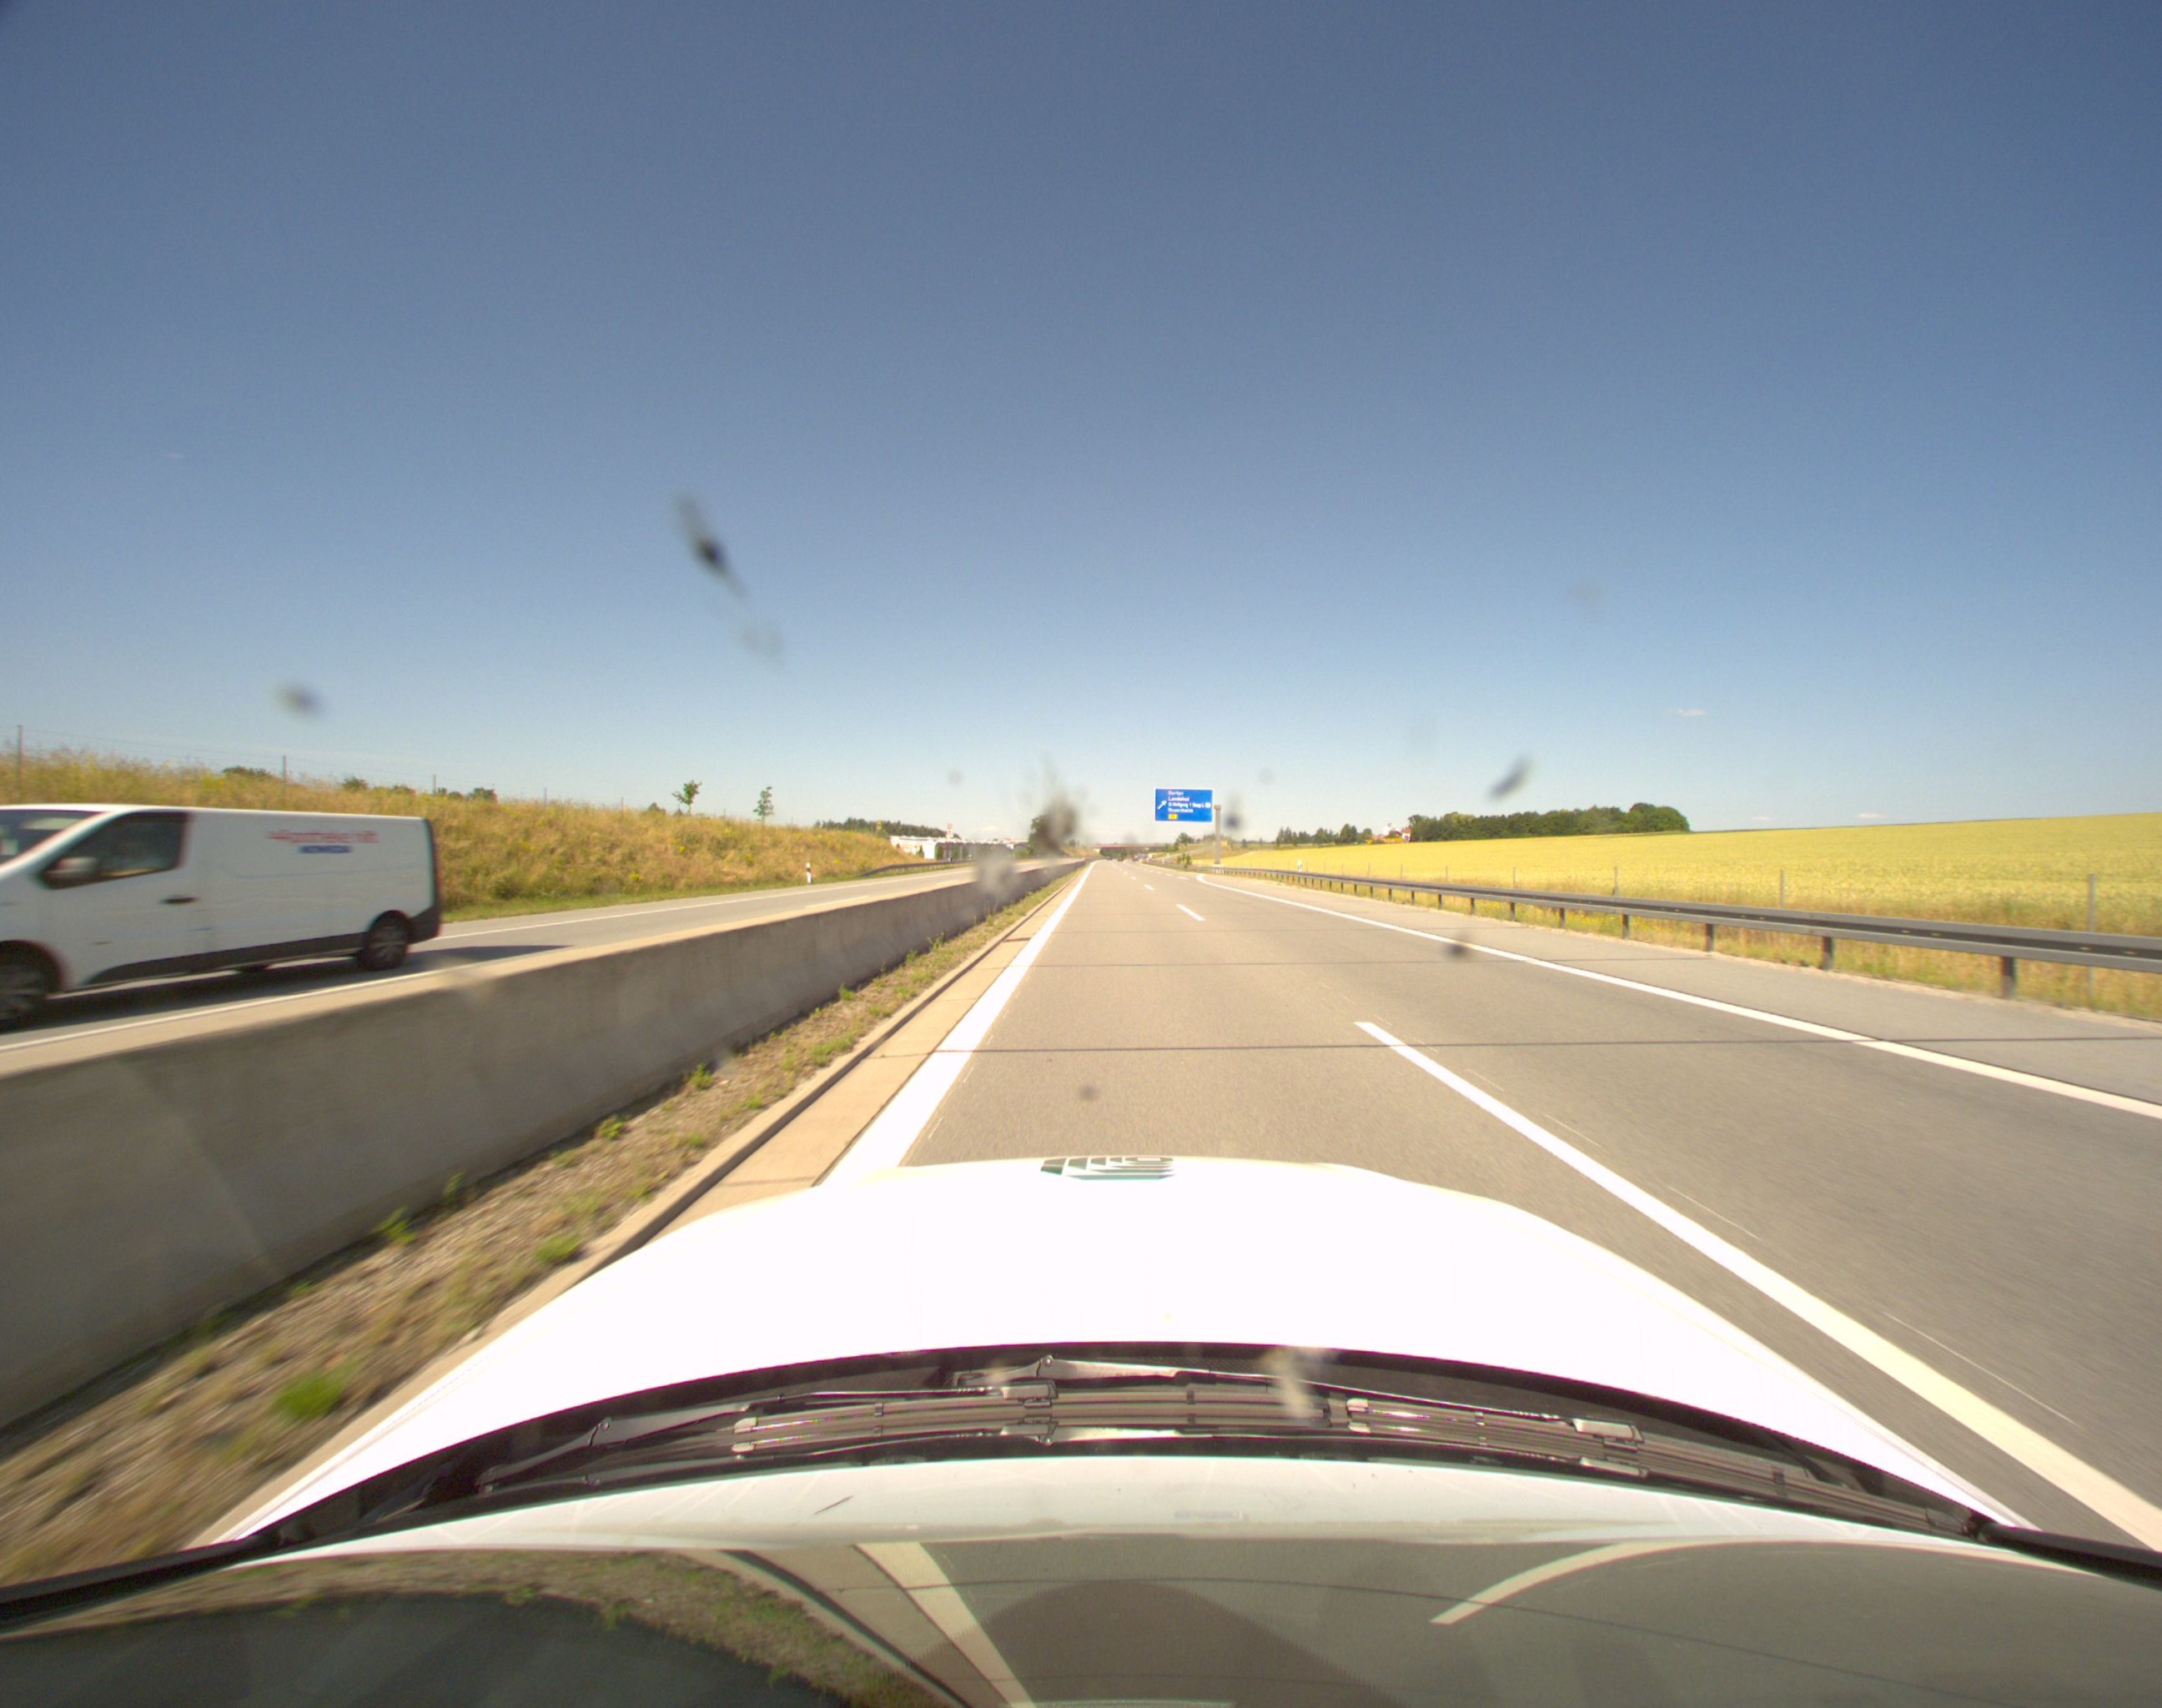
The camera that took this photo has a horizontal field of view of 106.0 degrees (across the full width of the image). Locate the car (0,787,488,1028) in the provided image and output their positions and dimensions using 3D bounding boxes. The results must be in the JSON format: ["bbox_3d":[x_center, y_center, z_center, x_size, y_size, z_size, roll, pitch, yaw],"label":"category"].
[{"bbox_3d":[-9.720,0.459,8.807,2.225,1.934,5.797,-1,0,2],"label":"car"}]

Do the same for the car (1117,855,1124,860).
[{"bbox_3d":[12.693,1.180,261.183,1.984,1.420,4.006,0,0,5],"label":"car"}]
